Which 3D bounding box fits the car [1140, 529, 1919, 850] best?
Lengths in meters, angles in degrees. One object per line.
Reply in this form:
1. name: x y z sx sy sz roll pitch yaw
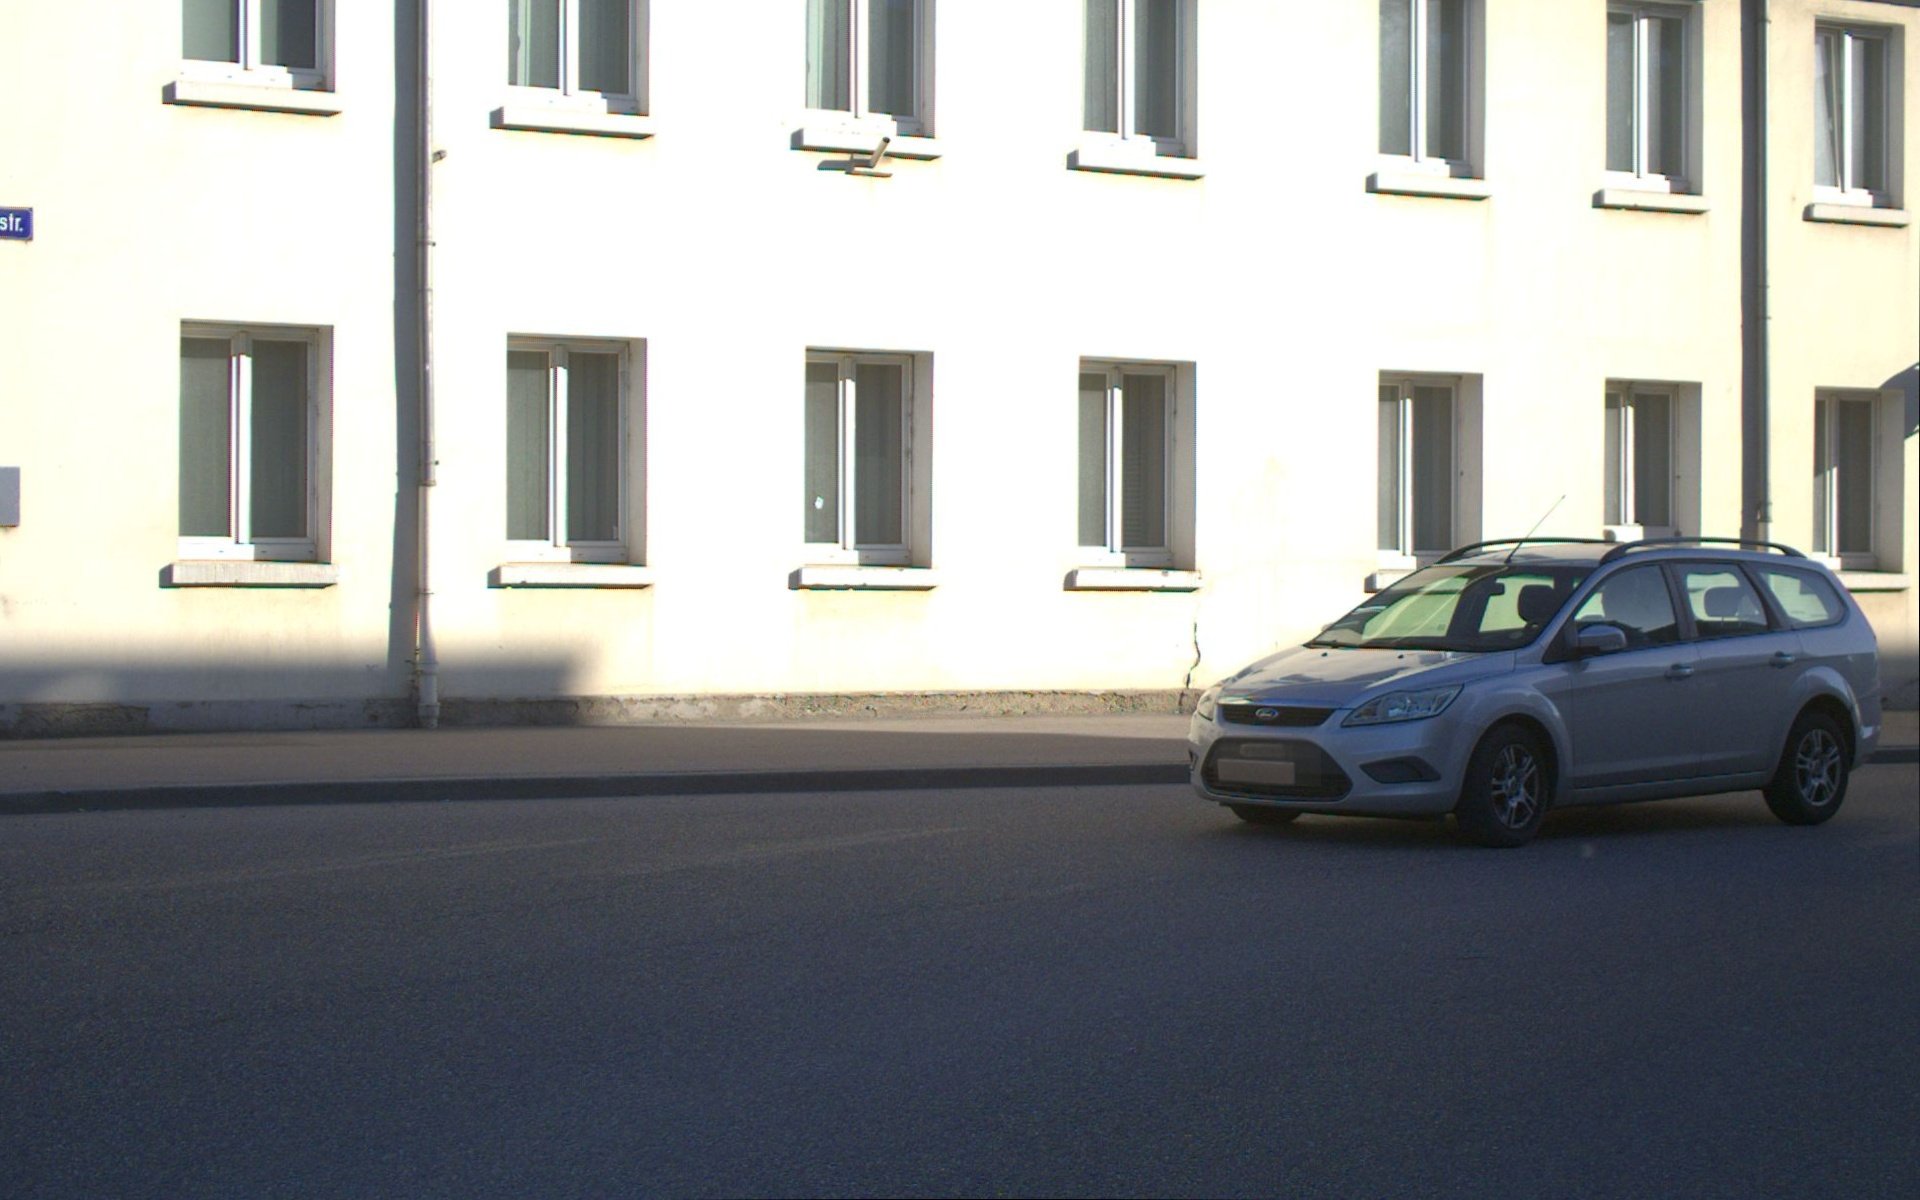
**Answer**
1. car: 3.181 0.420 18.345 4.489 1.500 1.744 0 1 -42
